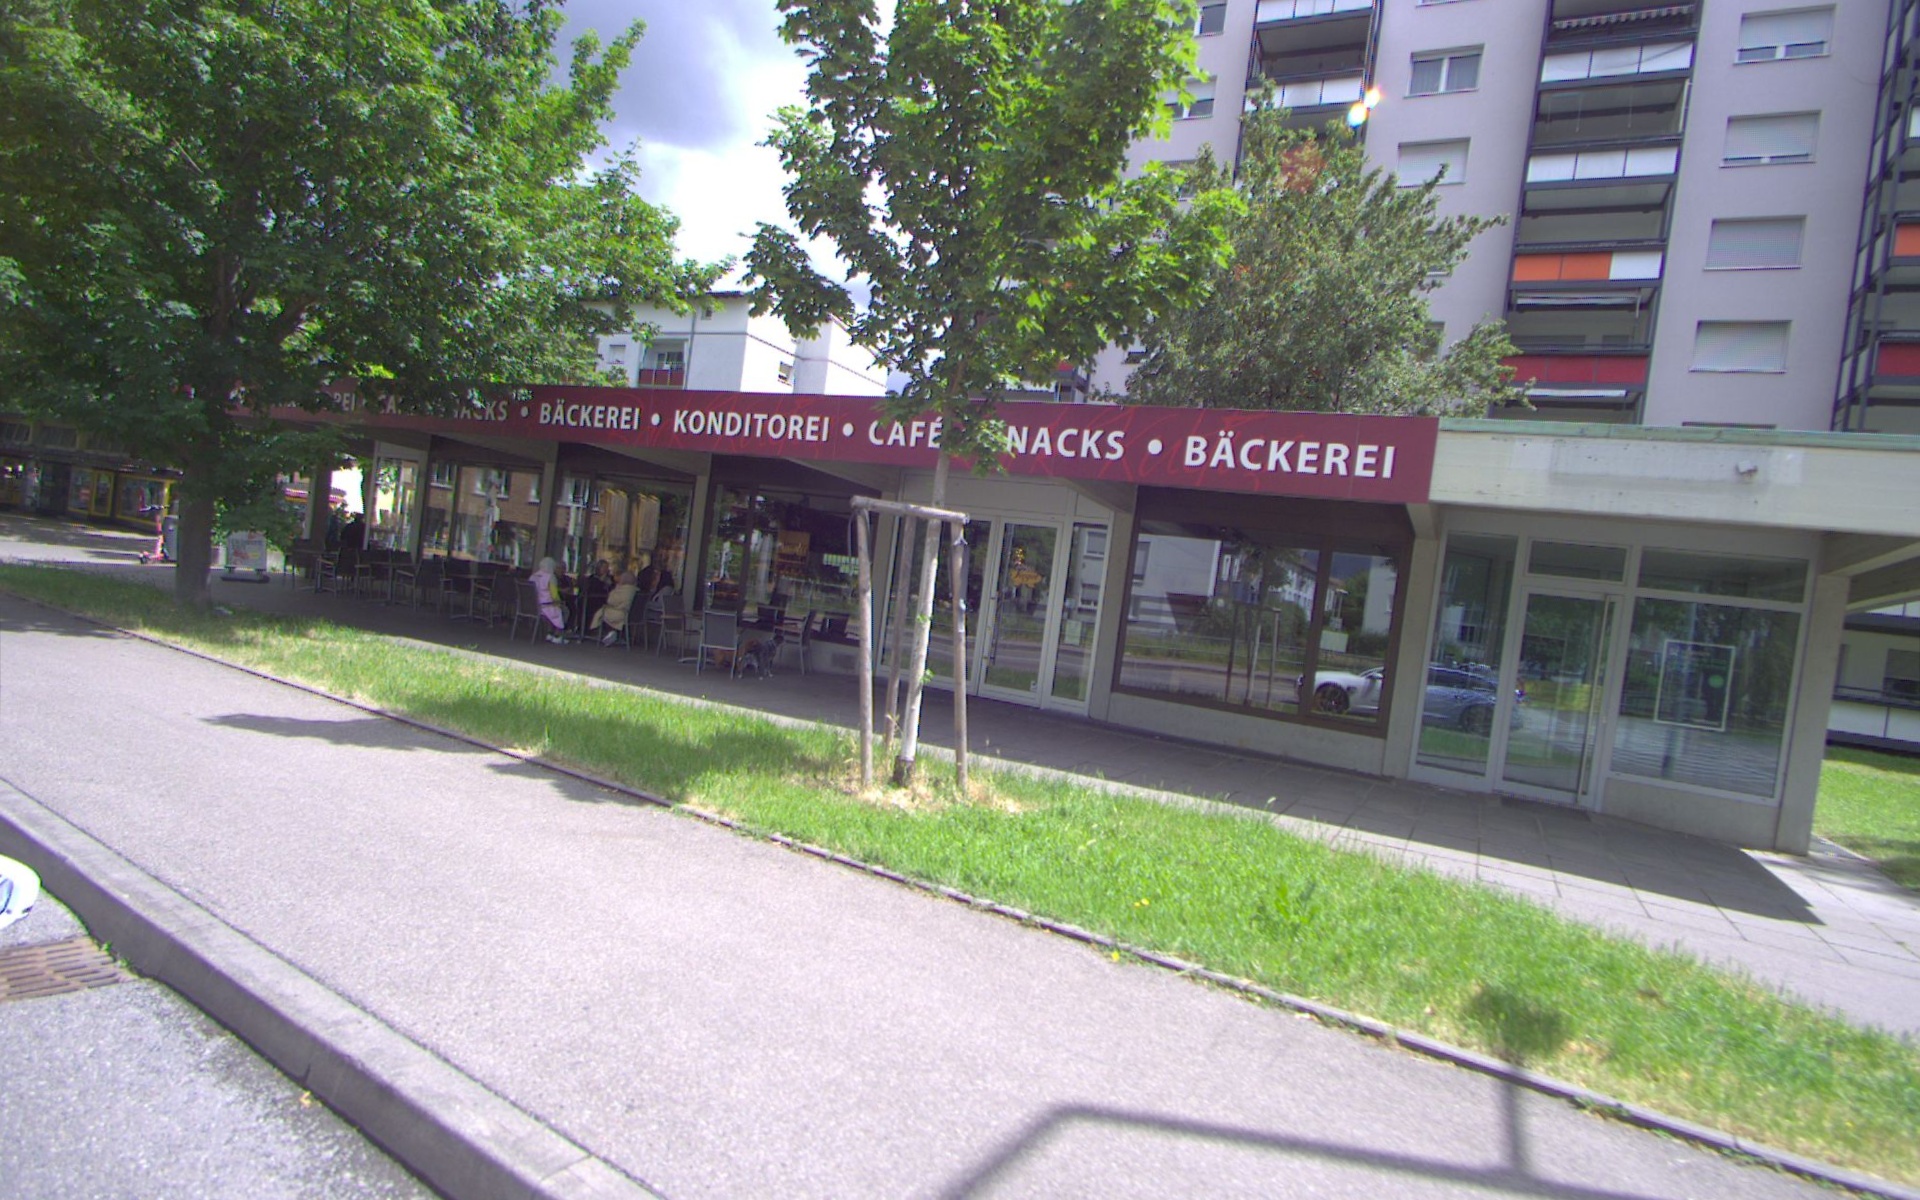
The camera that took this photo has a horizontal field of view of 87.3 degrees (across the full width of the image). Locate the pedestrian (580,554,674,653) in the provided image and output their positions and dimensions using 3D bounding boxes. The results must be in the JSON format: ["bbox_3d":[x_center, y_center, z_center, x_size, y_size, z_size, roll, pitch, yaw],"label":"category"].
[{"bbox_3d":[-5.040,0.066,15.240,0.808,1.341,0.879,10,2,26],"label":"pedestrian"}]

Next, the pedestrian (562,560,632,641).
[{"bbox_3d":[-5.951,0.018,16.486,0.689,1.216,0.717,8,1,40],"label":"pedestrian"}]

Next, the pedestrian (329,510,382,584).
[{"bbox_3d":[-13.149,-1.144,21.890,0.548,1.507,0.697,7,1,30],"label":"pedestrian"}]

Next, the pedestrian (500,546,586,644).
[{"bbox_3d":[-6.194,-0.061,14.966,0.601,1.341,0.878,8,1,34],"label":"pedestrian"}]

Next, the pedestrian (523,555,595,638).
[{"bbox_3d":[-6.405,-0.048,16.075,0.689,1.216,0.717,8,1,40],"label":"pedestrian"}]

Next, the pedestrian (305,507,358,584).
[{"bbox_3d":[-13.737,-1.185,21.990,0.548,1.593,0.697,7,1,30],"label":"pedestrian"}]

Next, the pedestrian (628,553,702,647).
[{"bbox_3d":[-4.698,0.008,16.030,0.687,1.398,0.718,7,1,33],"label":"pedestrian"}]

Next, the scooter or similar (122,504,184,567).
[{"bbox_3d":[-17.357,-1.398,21.666,0.513,1.242,1.720,7,2,-24],"label":"scooter or similar"}]
